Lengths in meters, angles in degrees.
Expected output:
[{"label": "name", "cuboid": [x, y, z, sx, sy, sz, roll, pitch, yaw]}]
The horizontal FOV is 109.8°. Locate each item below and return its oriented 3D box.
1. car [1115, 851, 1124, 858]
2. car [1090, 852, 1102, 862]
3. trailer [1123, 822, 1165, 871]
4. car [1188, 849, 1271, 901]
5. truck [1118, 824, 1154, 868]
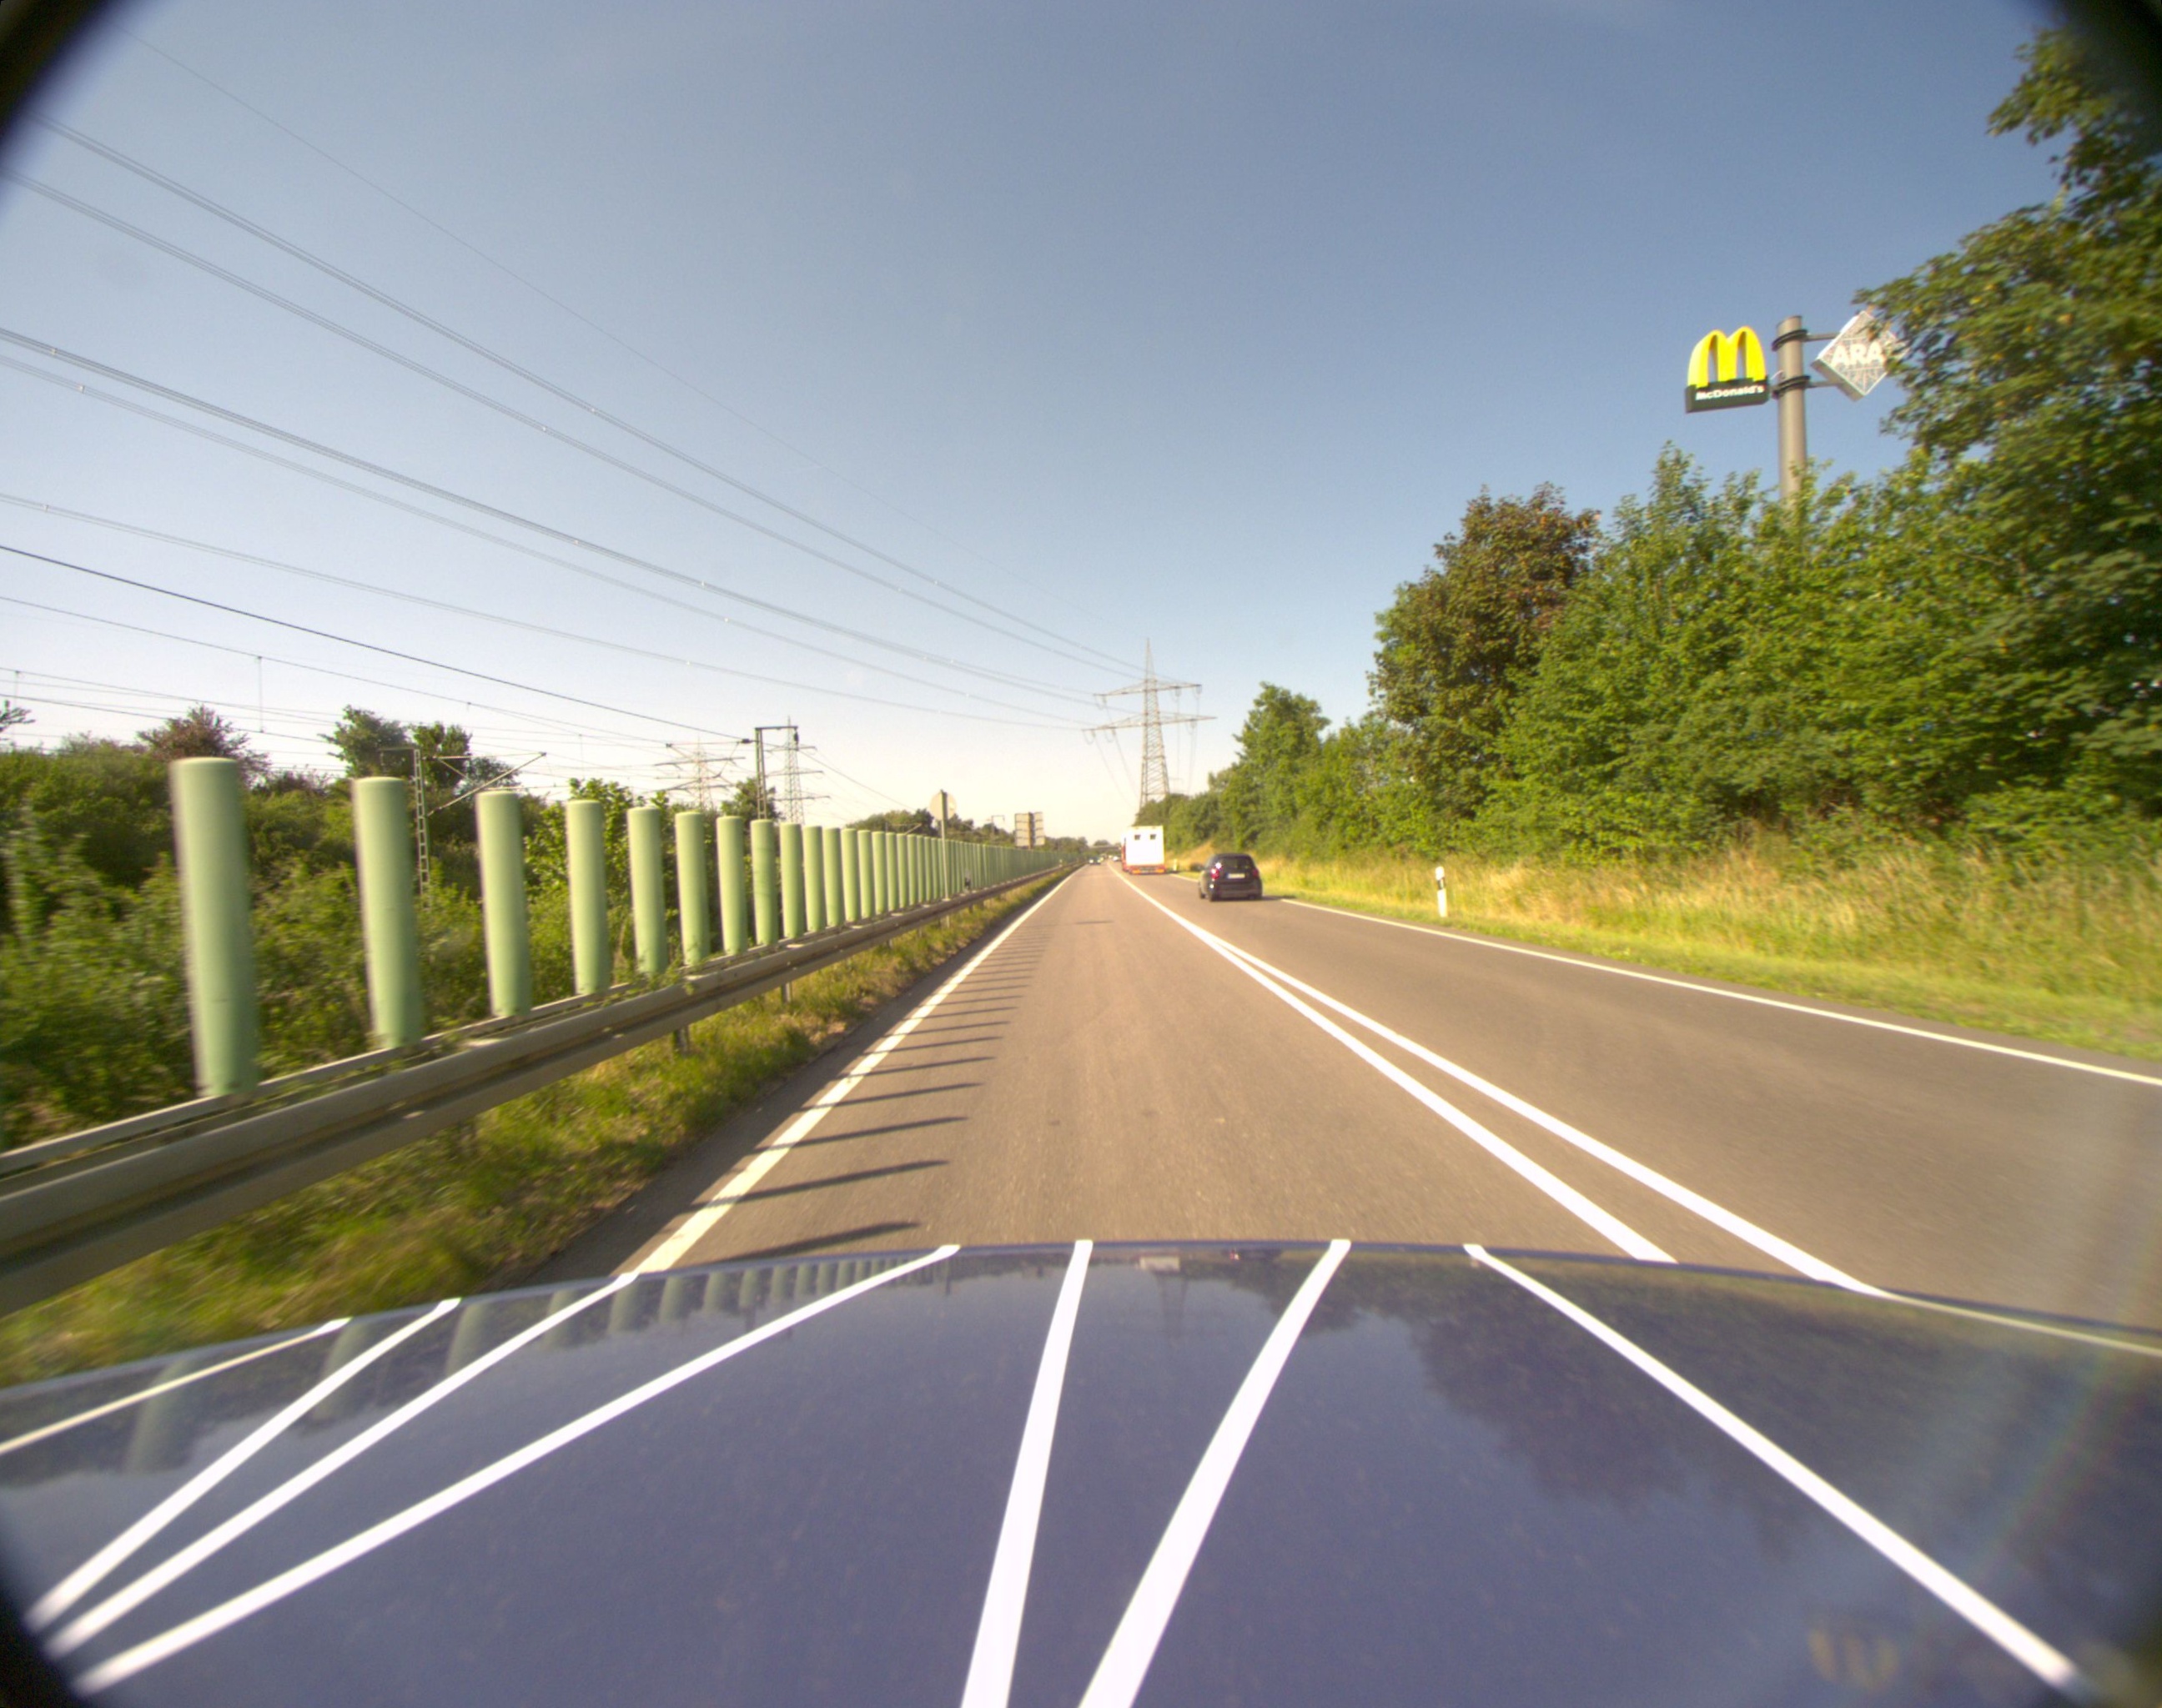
[{"label": "car", "cuboid": [8.993, 0.051, 177.471, 1.800, 1.584, 3.999, -2, 1, 0]}, {"label": "car", "cuboid": [2.462, 0.425, 124.322, 1.787, 1.550, 4.000, -1, 0, 2]}, {"label": "trailer", "cuboid": [4.930, -0.584, 60.774, 2.566, 3.575, 8.292, -2, 0, 0]}, {"label": "car", "cuboid": [4.814, 0.646, 25.196, 1.861, 1.550, 3.999, -1, 0, -1]}, {"label": "truck", "cuboid": [4.962, -0.662, 70.190, 2.566, 3.667, 10.486, -2, 0, 0]}]
